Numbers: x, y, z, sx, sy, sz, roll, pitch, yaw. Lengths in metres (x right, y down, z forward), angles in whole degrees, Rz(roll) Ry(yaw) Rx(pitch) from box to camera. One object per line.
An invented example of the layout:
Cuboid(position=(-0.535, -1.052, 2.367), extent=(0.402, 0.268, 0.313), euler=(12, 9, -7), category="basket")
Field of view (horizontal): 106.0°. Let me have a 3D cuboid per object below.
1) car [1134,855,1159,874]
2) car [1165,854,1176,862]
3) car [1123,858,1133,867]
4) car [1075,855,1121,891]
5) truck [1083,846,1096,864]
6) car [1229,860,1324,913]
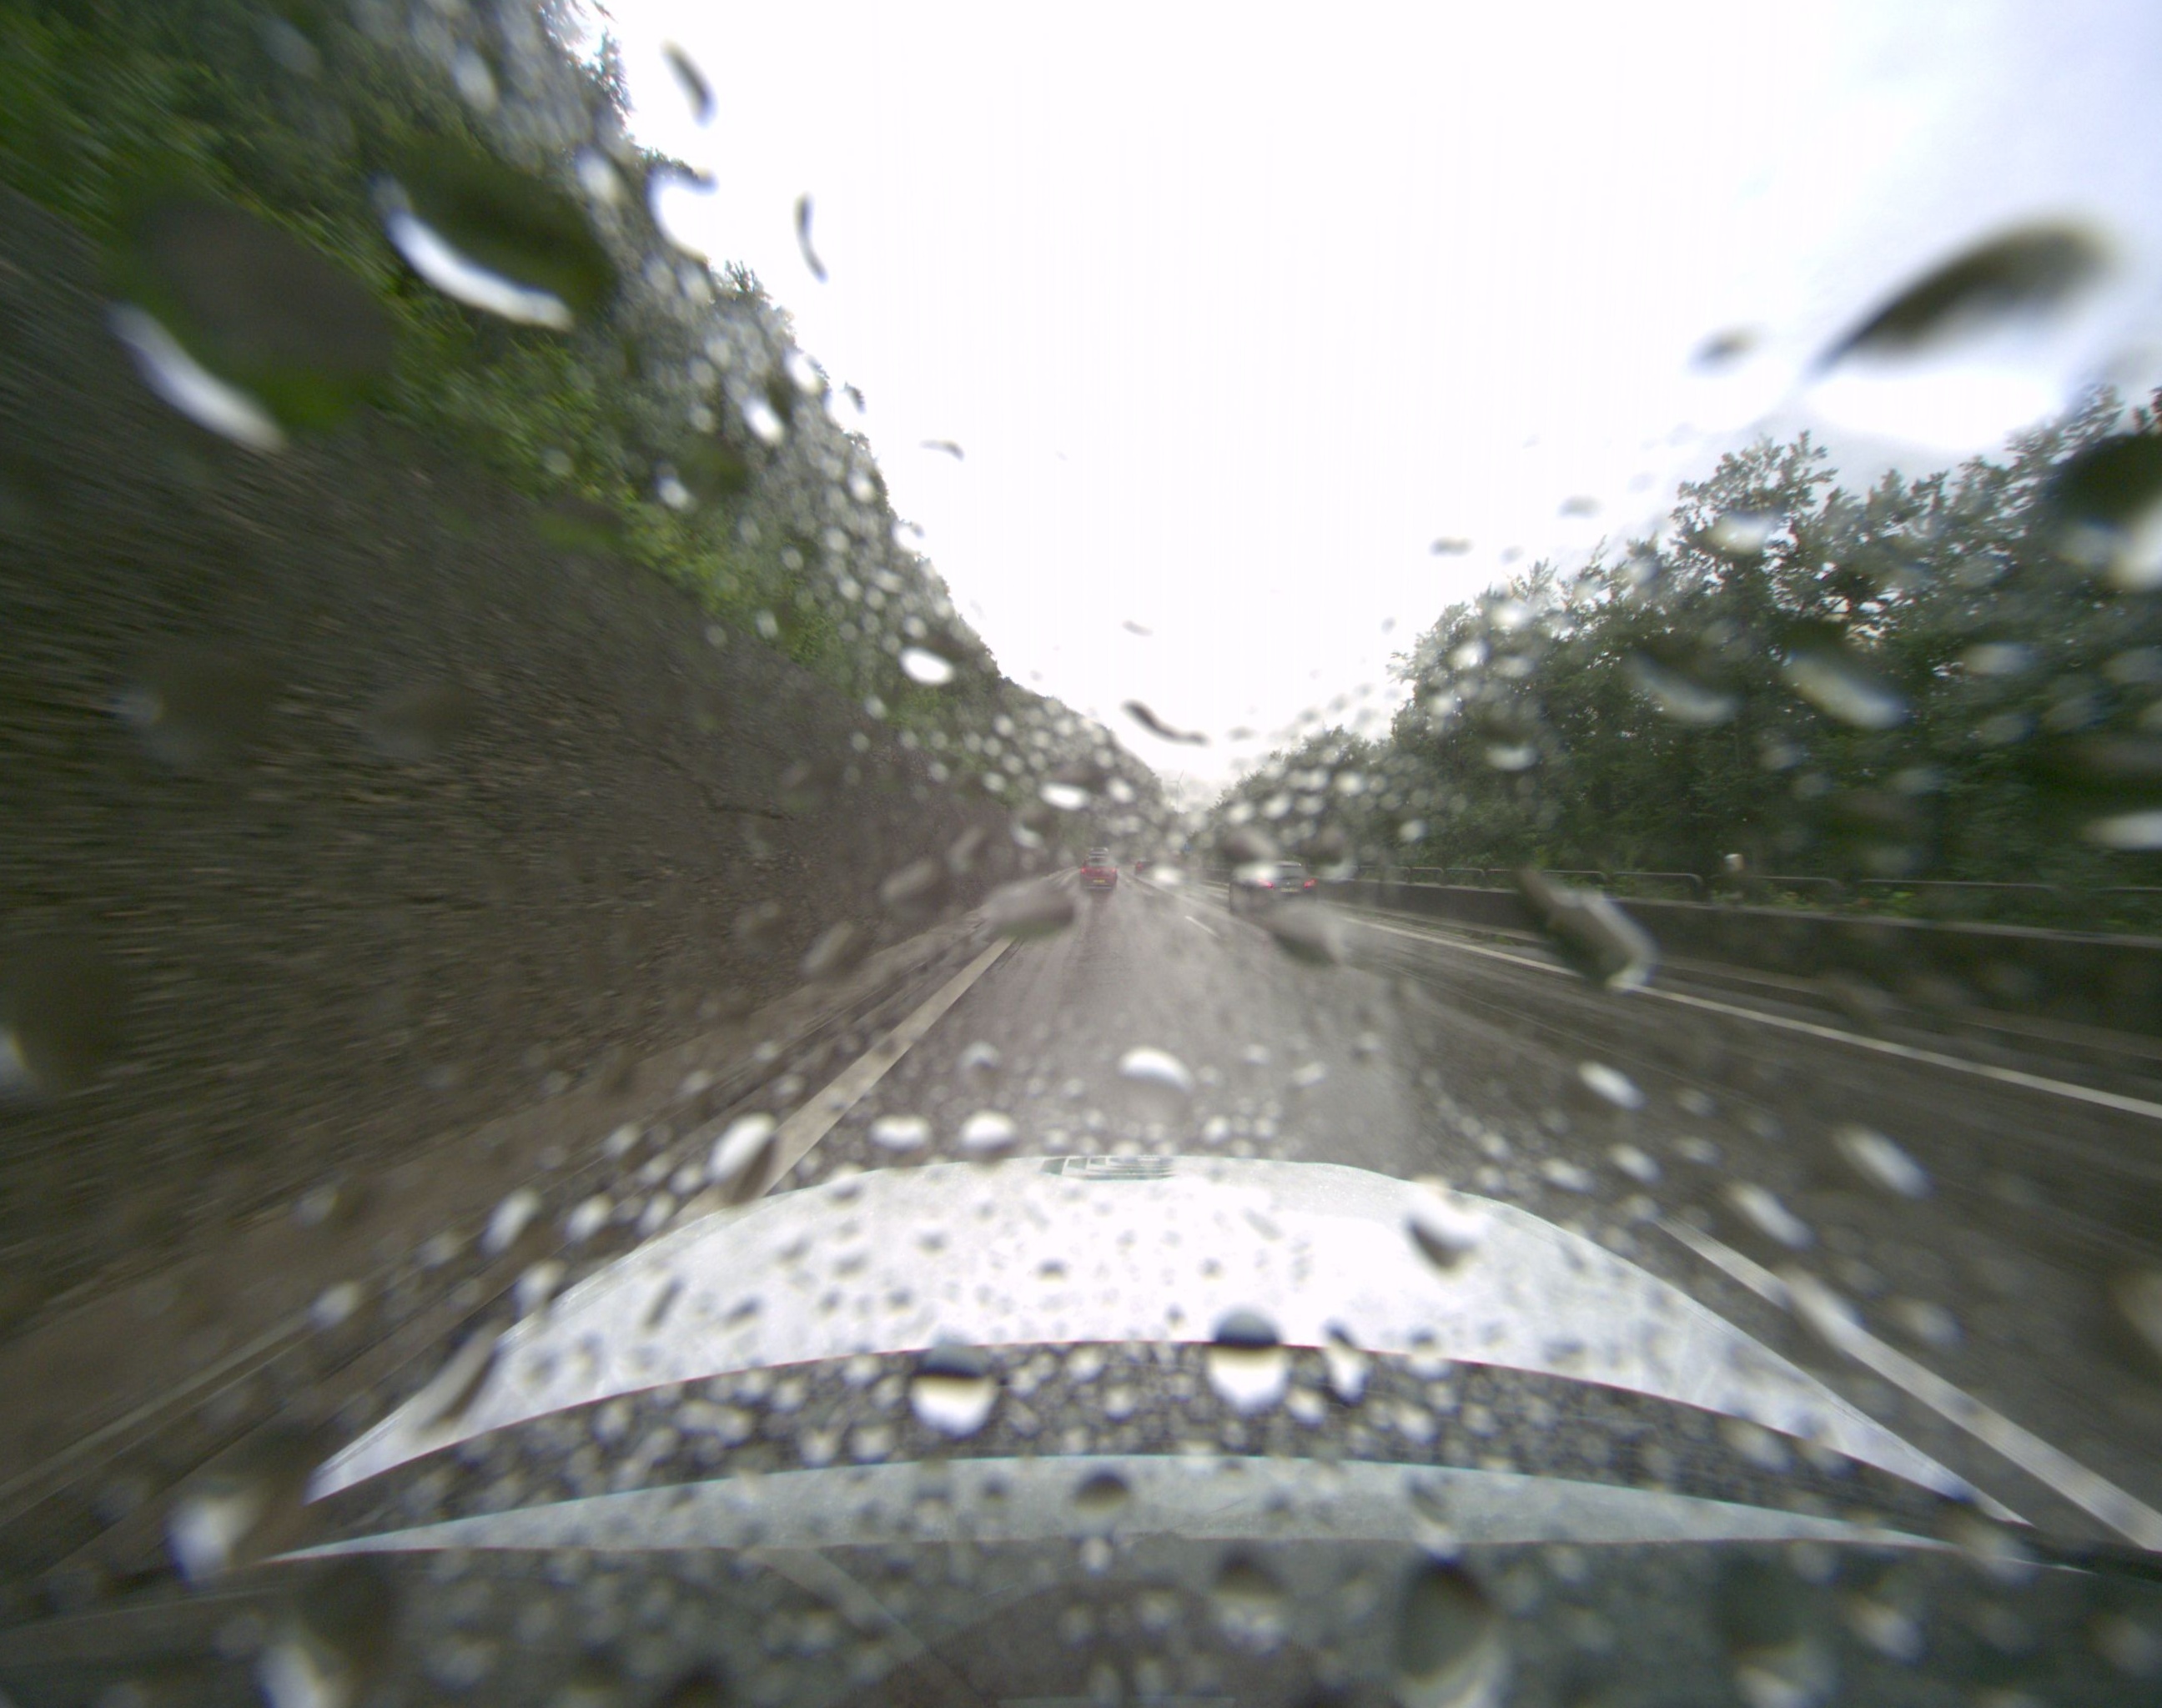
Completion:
Cuboid(position=(5.763, 0.898, 71.887), extent=(1.986, 1.552, 4.002), euler=(-1, 0, 2), category="car")
Cuboid(position=(23.058, 1.090, 209.123), extent=(2.434, 2.014, 4.748), euler=(-1, 0, 9), category="car")
Cuboid(position=(9.180, 1.586, 159.594), extent=(1.986, 1.749, 4.002), euler=(-1, 0, 2), category="car")
Cuboid(position=(0.802, 0.887, 38.462), extent=(1.987, 1.552, 4.000), euler=(-2, -1, 1), category="car")
Cuboid(position=(1.417, 0.206, 131.108), extent=(1.987, 2.751, 5.587), euler=(-2, 0, 1), category="truck")
Cuboid(position=(5.415, 0.856, 23.016), extent=(1.794, 1.307, 4.001), euler=(-1, 0, 1), category="car")
